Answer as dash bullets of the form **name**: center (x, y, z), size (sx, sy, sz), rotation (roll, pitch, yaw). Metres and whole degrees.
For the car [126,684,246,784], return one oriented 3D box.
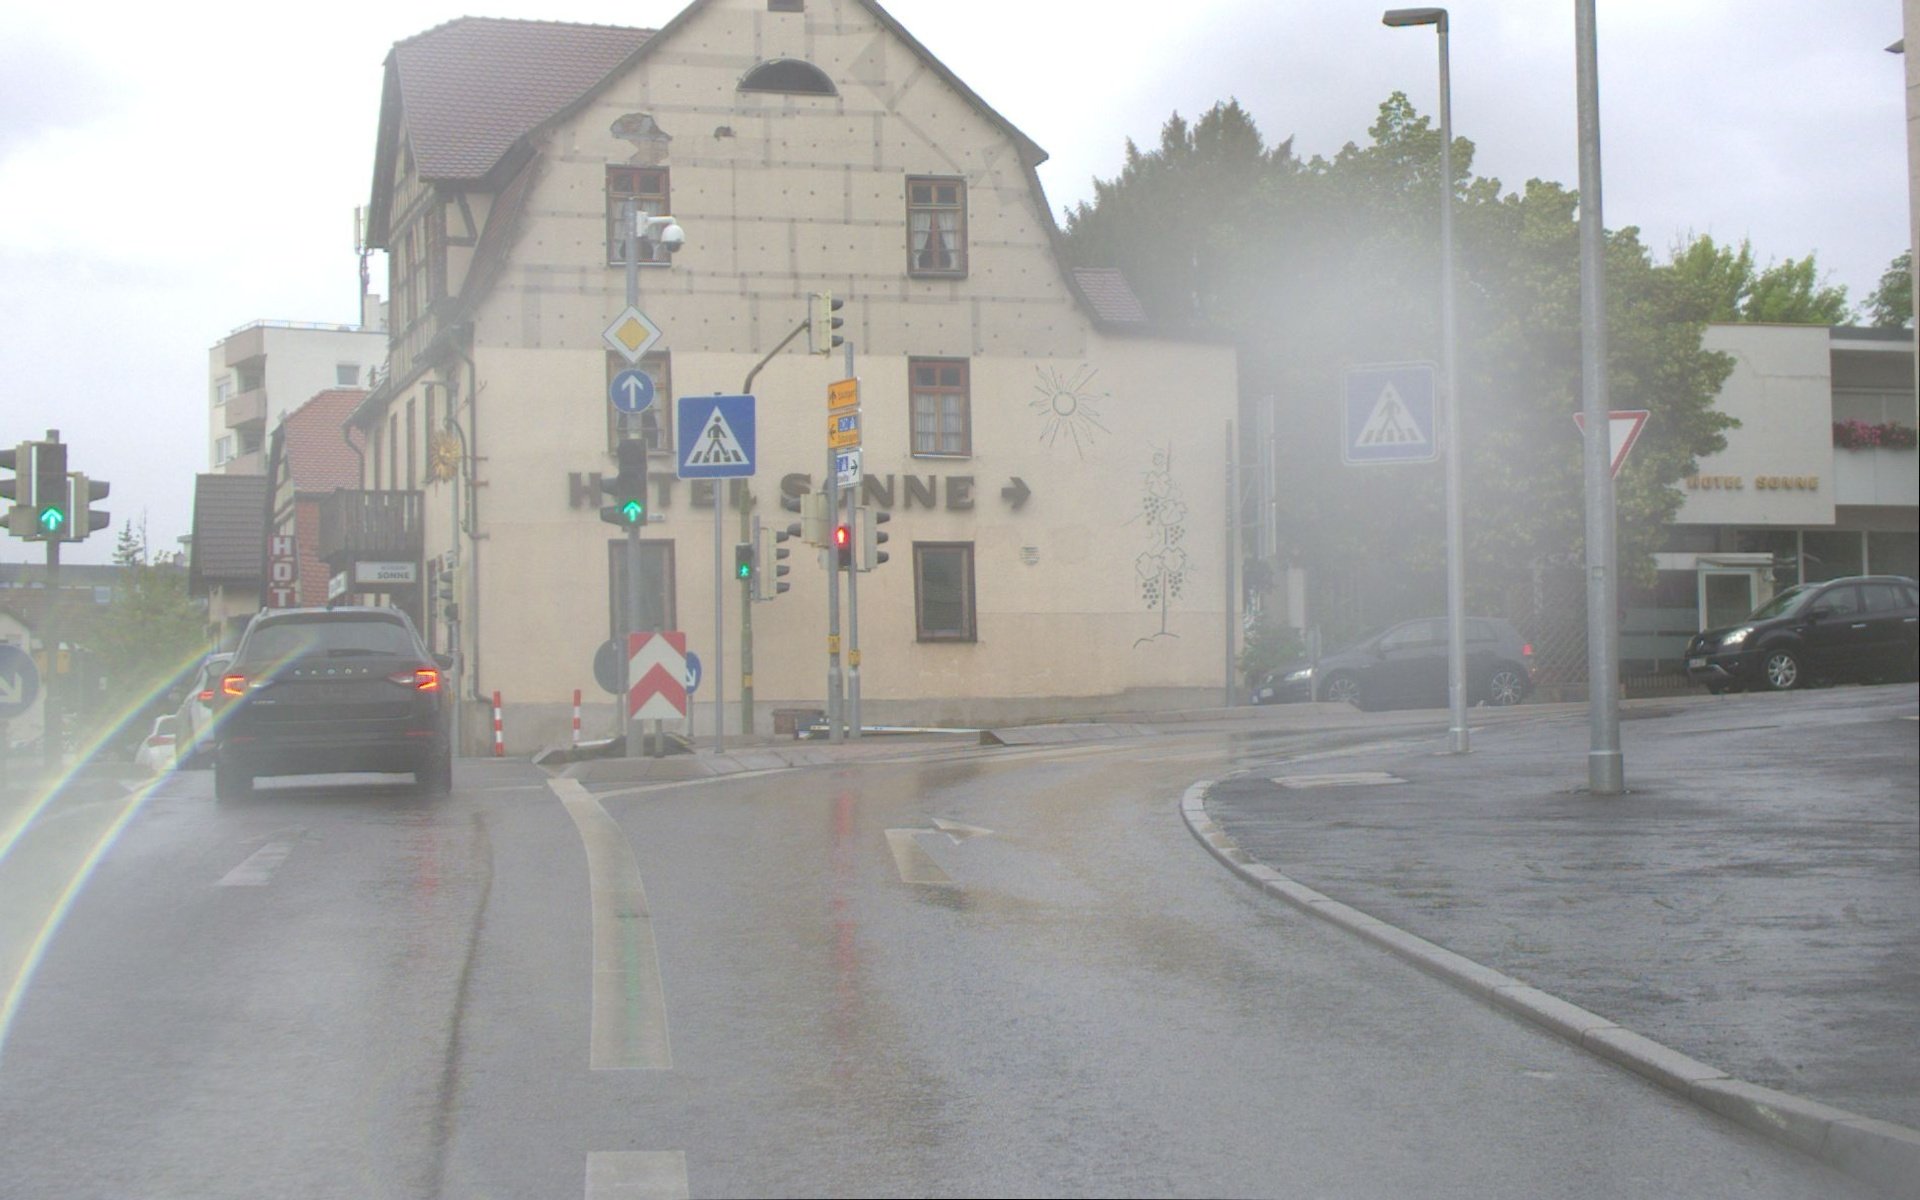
- **car**: center (-13.279, 2.278, 59.114), size (1.886, 1.462, 4.001), rotation (-2, 1, -12)

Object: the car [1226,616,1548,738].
- **car**: center (6.330, 1.140, 51.006), size (4.301, 1.500, 1.779), rotation (-2, -4, -20)

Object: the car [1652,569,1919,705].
- **car**: center (13.117, 0.565, 53.120), size (4.301, 1.809, 1.779), rotation (-3, -4, -18)

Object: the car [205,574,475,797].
- **car**: center (-4.872, 0.607, 27.499), size (1.944, 1.561, 4.418), rotation (0, 1, -8)

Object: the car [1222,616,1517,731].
- **car**: center (6.475, 1.171, 54.414), size (4.171, 1.514, 1.779), rotation (-3, -4, -18)
